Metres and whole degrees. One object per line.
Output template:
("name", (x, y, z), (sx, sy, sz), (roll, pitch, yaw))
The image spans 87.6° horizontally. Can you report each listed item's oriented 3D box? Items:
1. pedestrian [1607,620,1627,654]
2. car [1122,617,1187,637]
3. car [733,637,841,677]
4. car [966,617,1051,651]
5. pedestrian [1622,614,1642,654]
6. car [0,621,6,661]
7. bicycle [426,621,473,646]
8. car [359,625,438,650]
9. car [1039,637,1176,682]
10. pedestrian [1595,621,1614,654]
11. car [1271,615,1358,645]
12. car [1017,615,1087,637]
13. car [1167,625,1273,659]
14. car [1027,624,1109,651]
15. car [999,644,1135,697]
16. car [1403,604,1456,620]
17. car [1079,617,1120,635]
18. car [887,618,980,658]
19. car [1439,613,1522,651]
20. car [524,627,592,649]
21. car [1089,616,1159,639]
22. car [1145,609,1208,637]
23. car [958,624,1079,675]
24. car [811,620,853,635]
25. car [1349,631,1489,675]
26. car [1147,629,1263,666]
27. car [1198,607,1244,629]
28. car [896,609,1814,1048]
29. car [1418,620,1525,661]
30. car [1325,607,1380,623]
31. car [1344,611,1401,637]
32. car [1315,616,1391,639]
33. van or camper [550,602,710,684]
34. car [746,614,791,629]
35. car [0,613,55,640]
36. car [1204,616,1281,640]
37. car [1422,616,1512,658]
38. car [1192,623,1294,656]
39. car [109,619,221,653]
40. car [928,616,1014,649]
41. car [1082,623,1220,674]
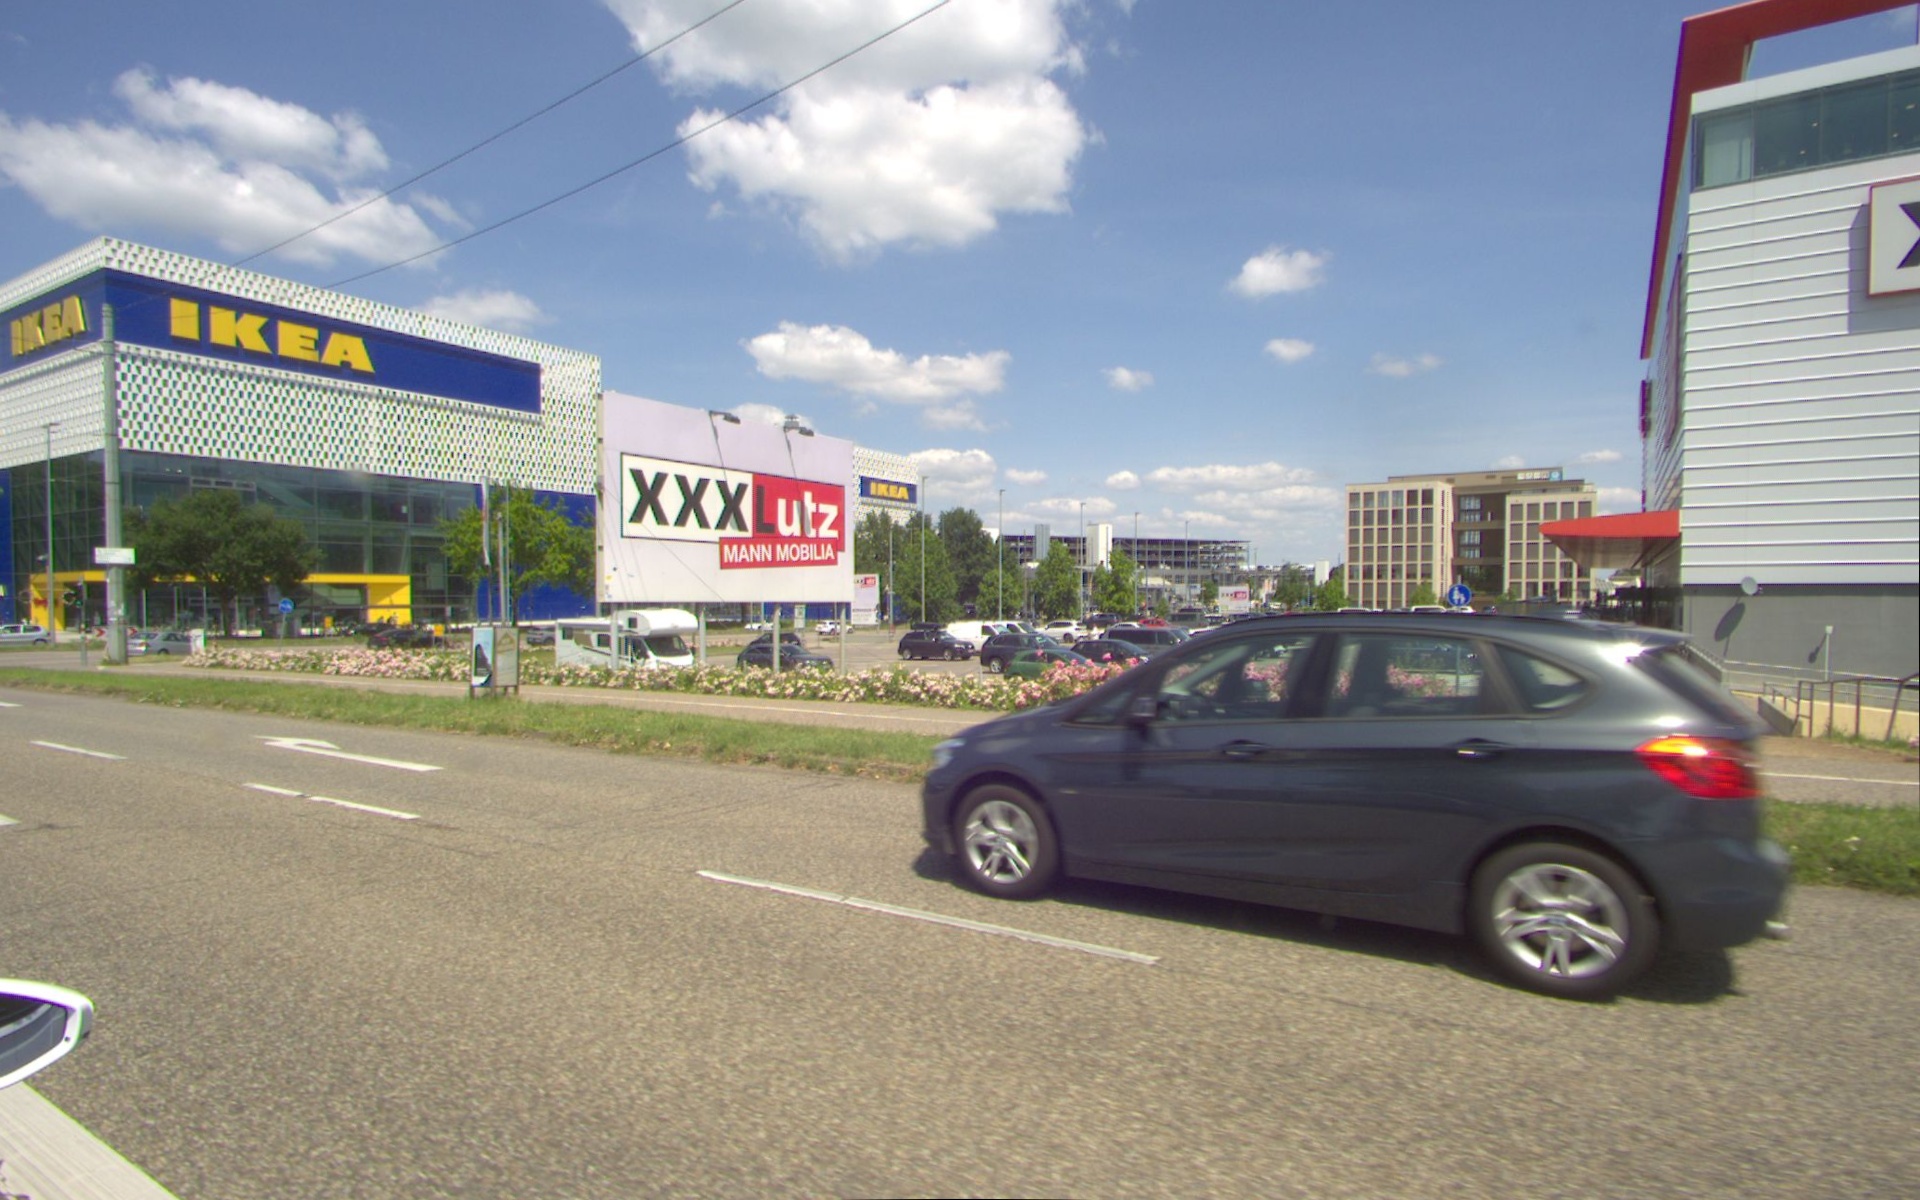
("pedestrian", (30.977, 1.739, 47.203), (0.725, 1.578, 0.739), (0, -1, 30))
("car", (16.017, 2.224, 82.464), (4.929, 1.631, 1.990), (0, -1, 33))
("car", (-7.787, 2.519, 44.960), (4.701, 1.558, 1.989), (0, 1, 33))
("car", (2.952, 2.048, 61.690), (4.929, 2.033, 1.990), (0, -1, 33))
("pedestrian", (31.984, 1.625, 47.686), (0.725, 1.893, 0.739), (0, -1, 30))
("car", (-36.381, 1.490, 35.976), (1.970, 1.505, 3.983), (2, -2, -27))
("bicycle", (-31.253, 2.027, 61.356), (0.976, 1.500, 2.415), (0, -1, 37))
("car", (-35.067, 2.336, 62.599), (1.712, 1.508, 3.977), (0, -1, 34))
("car", (5.679, 2.252, 38.788), (4.929, 1.570, 1.990), (0, -1, 33))
("pedestrian", (31.083, 1.782, 48.309), (0.725, 1.578, 0.739), (0, -1, 30))
("car", (23.201, 1.953, 65.578), (5.106, 1.889, 1.991), (0, -1, 31))
("car", (7.017, 1.980, 76.258), (4.921, 1.631, 1.993), (0, -1, 27))
("car", (13.327, 2.111, 51.404), (4.929, 1.631, 1.990), (0, -1, 33))
("car", (6.974, 2.399, 64.881), (4.929, 1.631, 1.990), (0, -1, 33))
("car", (3.691, 2.374, 34.624), (4.242, 1.517, 1.988), (0, 2, 33))
("car", (50.074, 1.319, 106.879), (4.929, 1.631, 1.990), (0, -1, 33))
("car", (14.804, 2.714, 106.084), (3.943, 1.863, 1.819), (-1, -1, 32))
("car", (-1.515, 2.072, 55.649), (4.929, 2.162, 1.990), (0, -1, 33))
("car", (29.019, 1.774, 55.849), (3.943, 2.040, 1.990), (0, -1, 32))
("car", (-28.815, 2.741, 71.848), (1.972, 1.505, 4.125), (0, -2, 33))
("car", (12.437, 2.072, 75.997), (4.929, 1.631, 1.990), (0, -1, 33))
("car", (18.681, 1.978, 86.543), (4.929, 2.333, 1.990), (0, -1, 33))
("car", (2.539, 2.095, 43.862), (4.929, 2.041, 1.989), (0, 1, 33))
("car", (-13.265, 2.839, 103.915), (1.970, 1.505, 4.371), (0, -2, 31))
("car", (18.508, 2.074, 40.422), (4.929, 1.631, 1.990), (0, -1, 33))
("car", (11.431, 2.185, 46.896), (4.929, 1.631, 1.990), (0, -1, 33))
("car", (25.075, 1.727, 96.233), (3.943, 2.040, 1.990), (-1, -1, 32))
("car", (1.792, 0.829, 5.383), (4.042, 1.546, 1.757), (0, -1, 33))
("car", (23.676, 1.864, 46.398), (4.271, 1.804, 1.990), (0, -2, 33))
("car", (39.792, 1.513, 101.561), (4.929, 1.631, 1.990), (0, -1, 33))
("car", (33.057, 1.912, 80.315), (3.943, 2.040, 1.990), (-1, -1, 32))
("car", (28.943, 1.983, 73.765), (4.929, 1.631, 1.990), (0, -1, 33))
("van or camper", (-13.403, 1.655, 40.375), (7.129, 3.059, 2.499), (-1, -1, 36))
("car", (-20.178, 2.251, 105.757), (1.973, 1.505, 4.485), (0, -2, 36))
("car", (-53.541, 1.451, 55.688), (1.973, 1.505, 4.485), (0, -2, 36))
("car", (20.098, 1.994, 71.349), (4.929, 1.631, 1.990), (0, -1, 33))
("car", (25.989, 1.862, 51.352), (3.943, 2.040, 1.990), (-1, -1, 32))
("car", (15.120, 2.080, 53.567), (4.929, 1.672, 1.990), (0, -1, 33))
("car", (-38.159, 1.729, 48.206), (1.961, 1.505, 4.168), (1, -2, 2))
("car", (0.634, 1.911, 60.120), (4.929, 1.876, 1.990), (0, -1, 33))
("car", (8.147, 2.041, 42.906), (5.456, 2.040, 1.990), (0, -1, 33))
